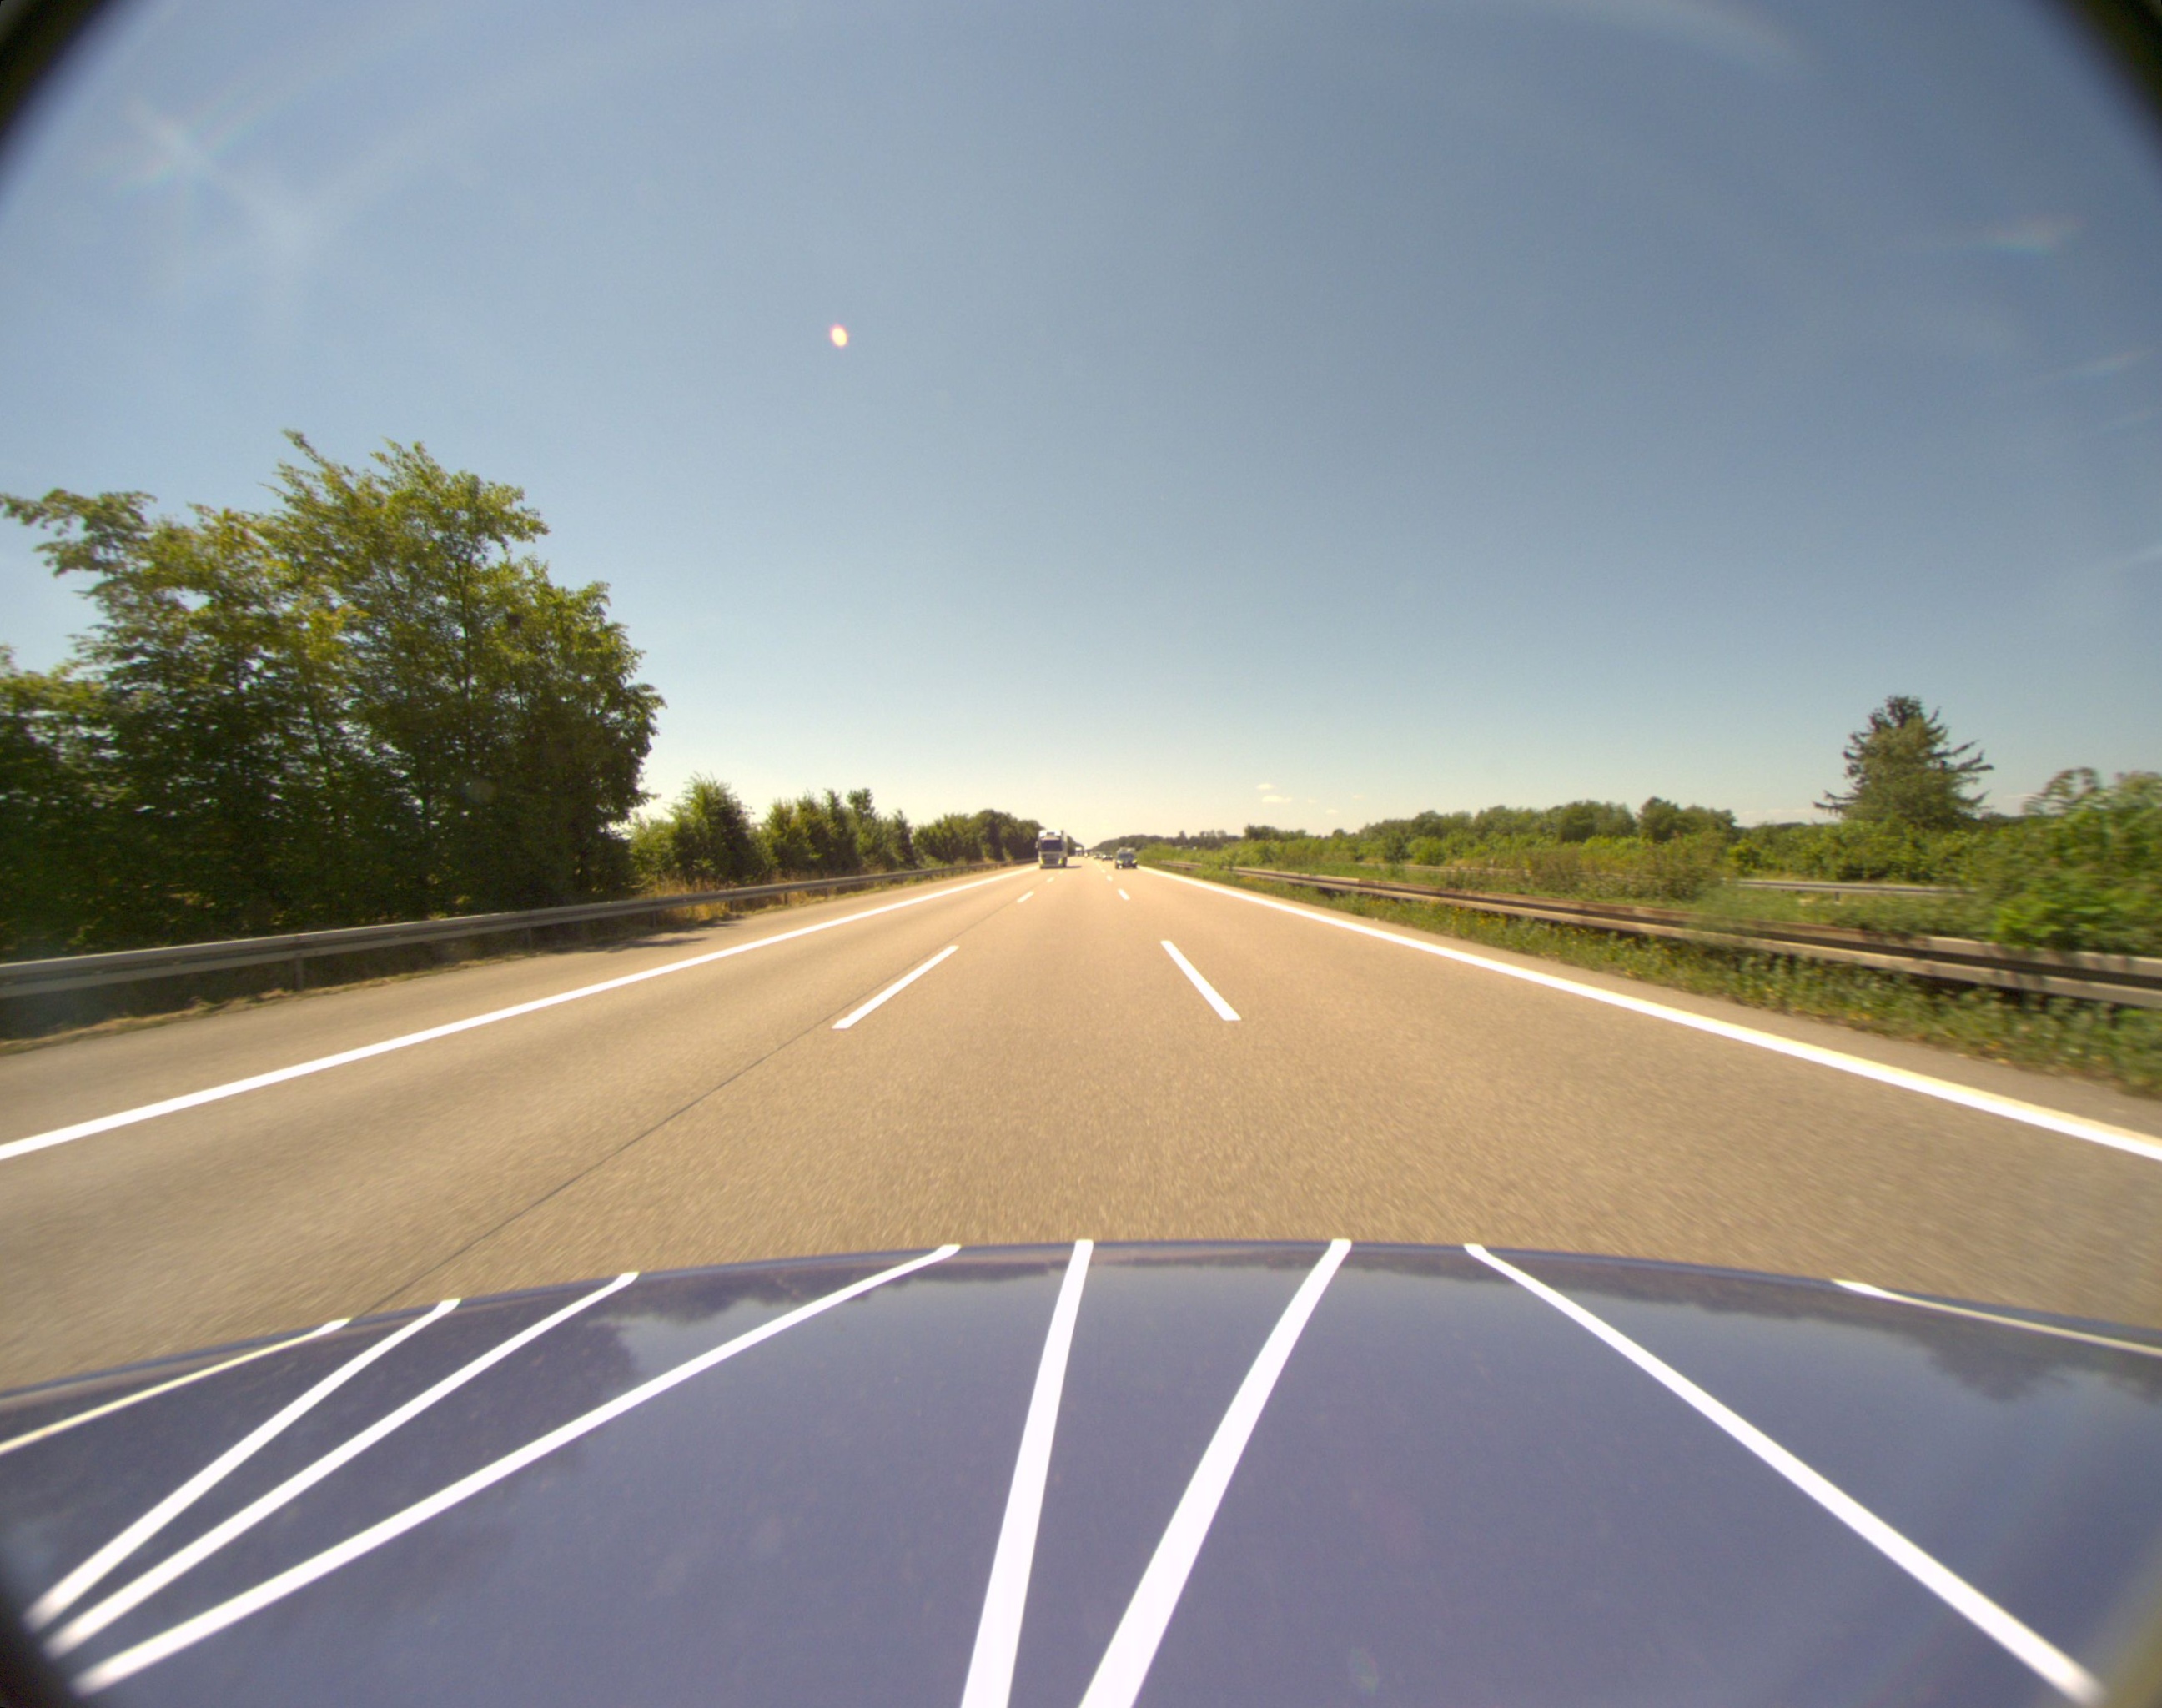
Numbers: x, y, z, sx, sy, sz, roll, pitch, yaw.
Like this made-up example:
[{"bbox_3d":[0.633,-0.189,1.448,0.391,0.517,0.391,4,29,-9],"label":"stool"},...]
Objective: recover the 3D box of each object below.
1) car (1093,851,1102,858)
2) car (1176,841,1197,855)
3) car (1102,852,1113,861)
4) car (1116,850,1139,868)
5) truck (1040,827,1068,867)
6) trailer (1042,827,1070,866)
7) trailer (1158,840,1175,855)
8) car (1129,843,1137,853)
[{"bbox_3d":[3.809,0.124,175.964,1.811,1.417,4.000,-2,0,1],"label":"car"},{"bbox_3d":[15.556,-0.844,112.350,2.264,1.888,5.519,-2,0,1],"label":"car"},{"bbox_3d":[4.546,0.389,131.016,1.811,1.417,4.000,-2,0,1],"label":"car"},{"bbox_3d":[4.136,0.434,68.581,1.811,1.459,4.000,-2,0,1],"label":"car"},{"bbox_3d":[-2.832,-0.750,80.870,2.476,4.039,6.319,-2,1,1],"label":"truck"},{"bbox_3d":[-2.748,-0.806,87.463,2.476,4.038,13.879,-2,0,1],"label":"trailer"},{"bbox_3d":[22.560,-1.773,201.830,2.941,3.847,13.908,-2,0,0],"label":"trailer"},{"bbox_3d":[14.775,-1.680,214.588,1.811,2.486,6.777,-2,0,1],"label":"car"}]
